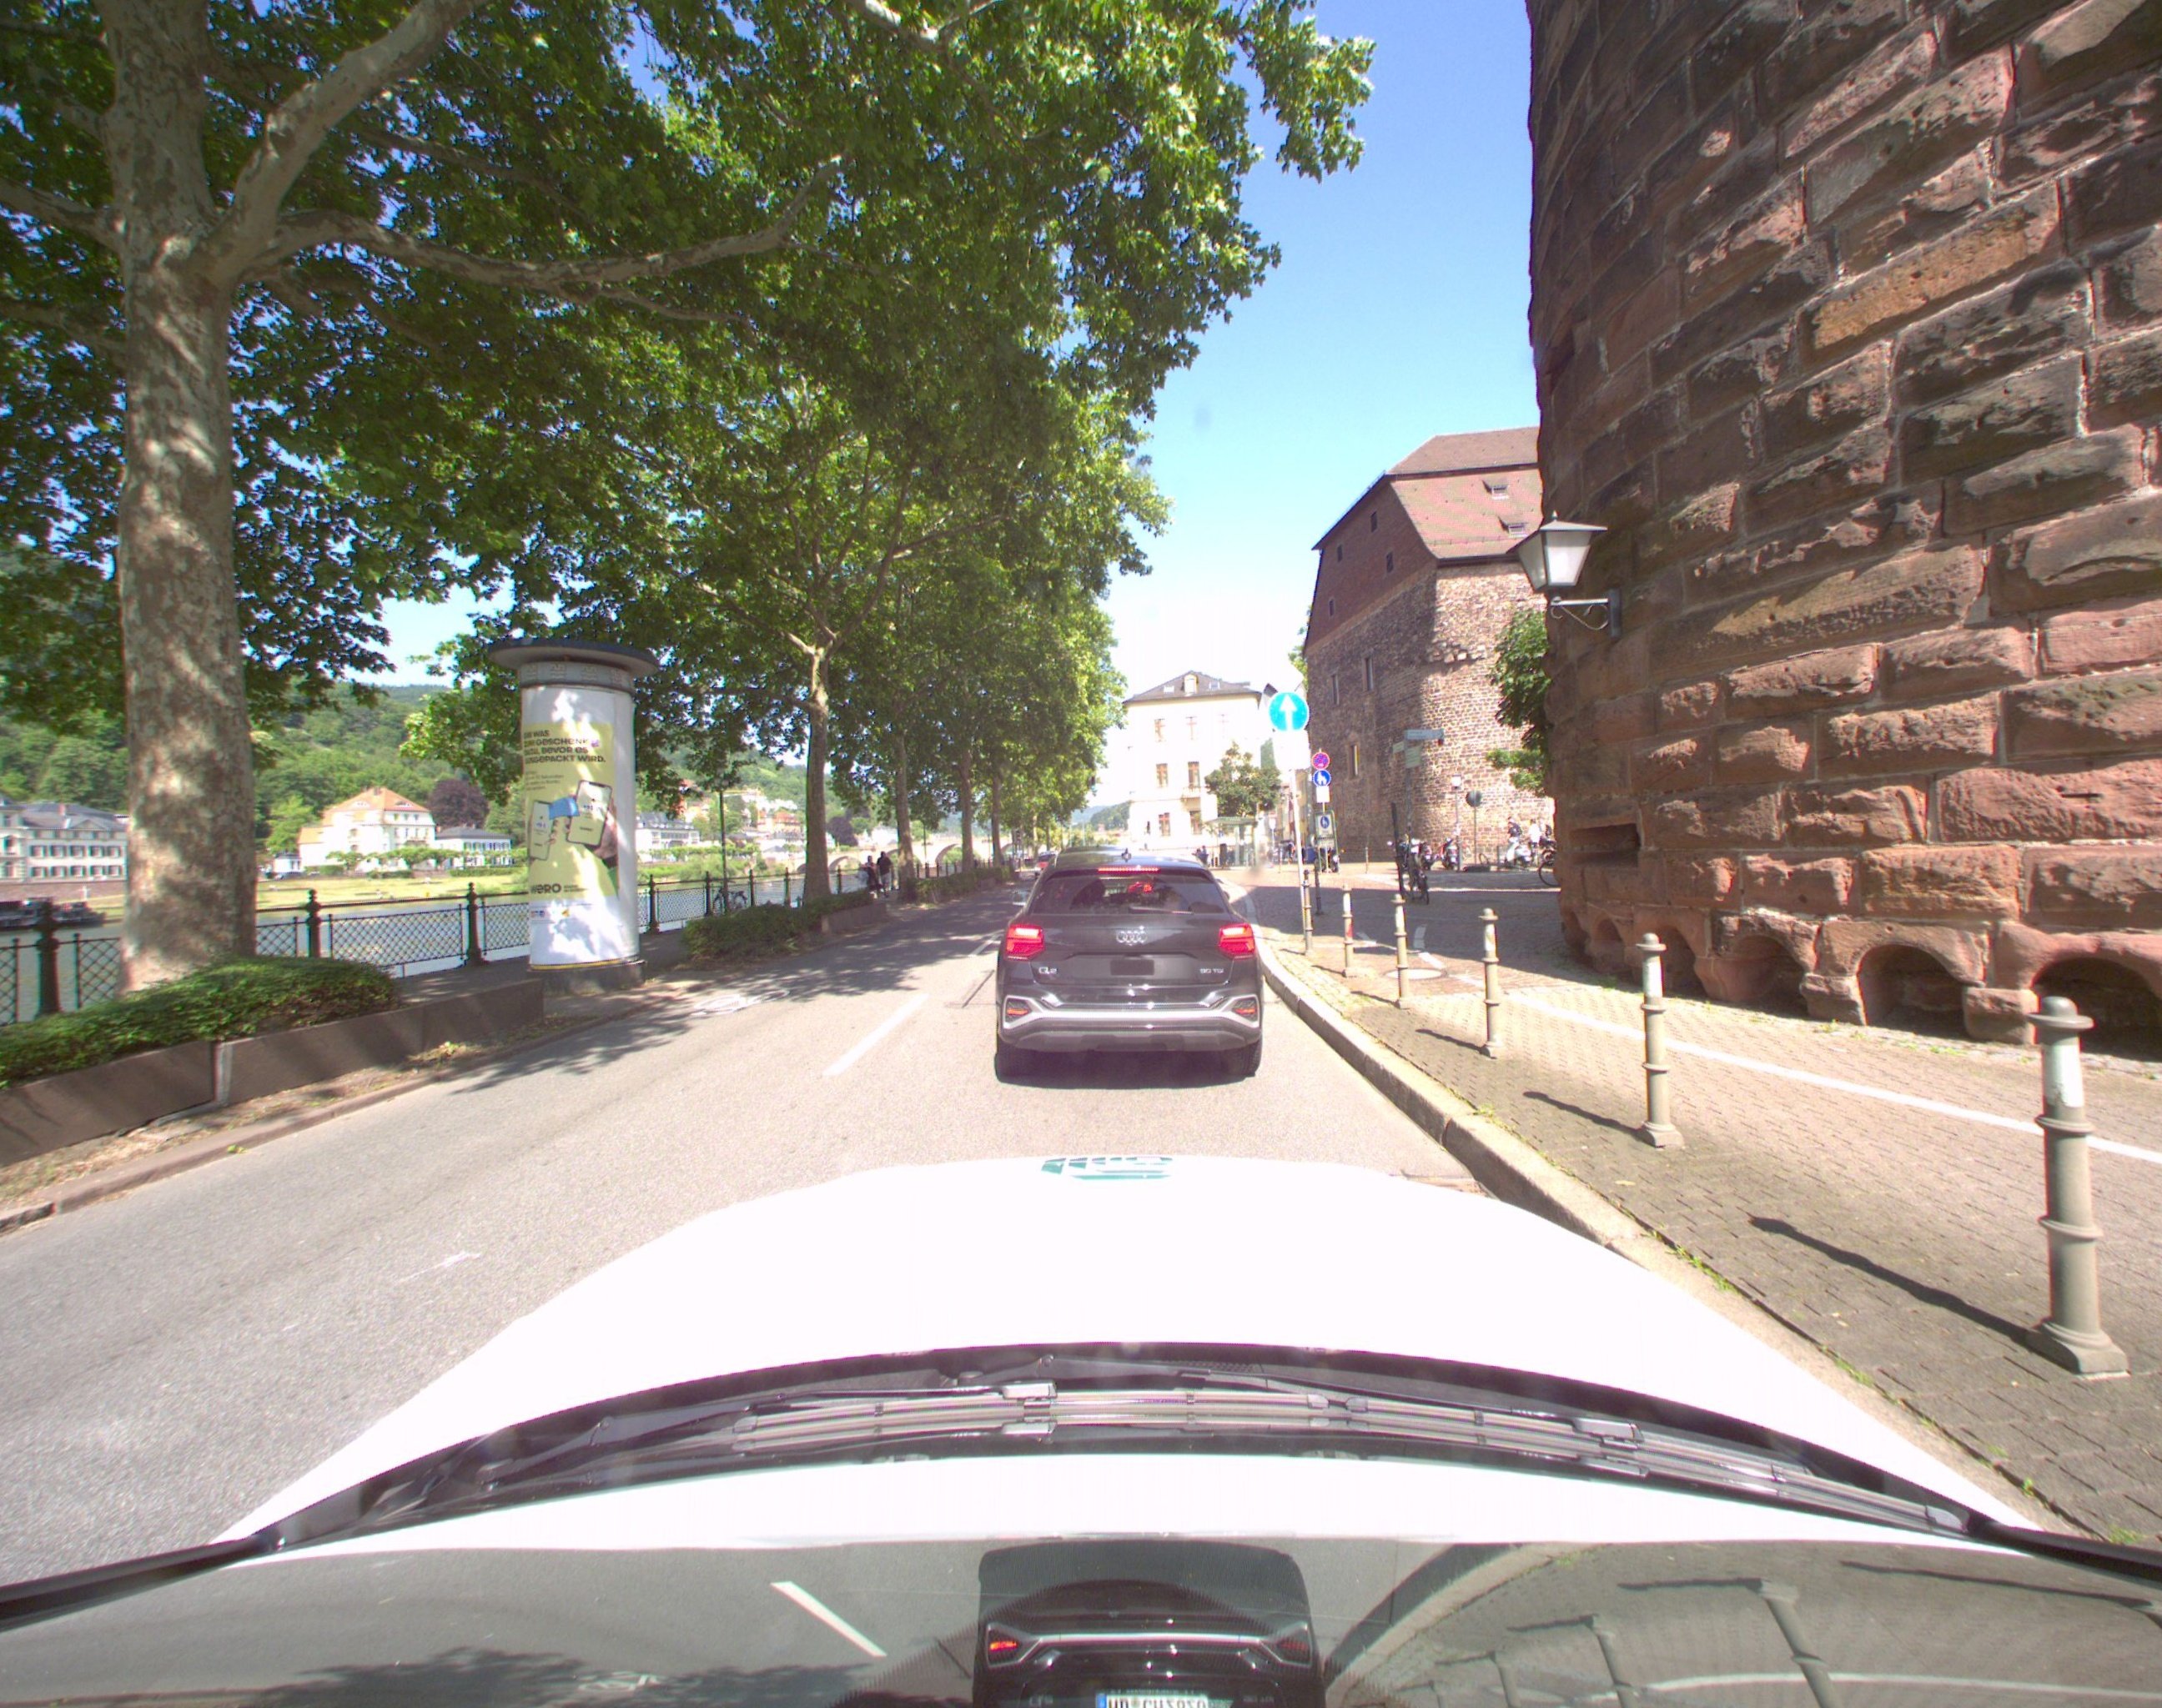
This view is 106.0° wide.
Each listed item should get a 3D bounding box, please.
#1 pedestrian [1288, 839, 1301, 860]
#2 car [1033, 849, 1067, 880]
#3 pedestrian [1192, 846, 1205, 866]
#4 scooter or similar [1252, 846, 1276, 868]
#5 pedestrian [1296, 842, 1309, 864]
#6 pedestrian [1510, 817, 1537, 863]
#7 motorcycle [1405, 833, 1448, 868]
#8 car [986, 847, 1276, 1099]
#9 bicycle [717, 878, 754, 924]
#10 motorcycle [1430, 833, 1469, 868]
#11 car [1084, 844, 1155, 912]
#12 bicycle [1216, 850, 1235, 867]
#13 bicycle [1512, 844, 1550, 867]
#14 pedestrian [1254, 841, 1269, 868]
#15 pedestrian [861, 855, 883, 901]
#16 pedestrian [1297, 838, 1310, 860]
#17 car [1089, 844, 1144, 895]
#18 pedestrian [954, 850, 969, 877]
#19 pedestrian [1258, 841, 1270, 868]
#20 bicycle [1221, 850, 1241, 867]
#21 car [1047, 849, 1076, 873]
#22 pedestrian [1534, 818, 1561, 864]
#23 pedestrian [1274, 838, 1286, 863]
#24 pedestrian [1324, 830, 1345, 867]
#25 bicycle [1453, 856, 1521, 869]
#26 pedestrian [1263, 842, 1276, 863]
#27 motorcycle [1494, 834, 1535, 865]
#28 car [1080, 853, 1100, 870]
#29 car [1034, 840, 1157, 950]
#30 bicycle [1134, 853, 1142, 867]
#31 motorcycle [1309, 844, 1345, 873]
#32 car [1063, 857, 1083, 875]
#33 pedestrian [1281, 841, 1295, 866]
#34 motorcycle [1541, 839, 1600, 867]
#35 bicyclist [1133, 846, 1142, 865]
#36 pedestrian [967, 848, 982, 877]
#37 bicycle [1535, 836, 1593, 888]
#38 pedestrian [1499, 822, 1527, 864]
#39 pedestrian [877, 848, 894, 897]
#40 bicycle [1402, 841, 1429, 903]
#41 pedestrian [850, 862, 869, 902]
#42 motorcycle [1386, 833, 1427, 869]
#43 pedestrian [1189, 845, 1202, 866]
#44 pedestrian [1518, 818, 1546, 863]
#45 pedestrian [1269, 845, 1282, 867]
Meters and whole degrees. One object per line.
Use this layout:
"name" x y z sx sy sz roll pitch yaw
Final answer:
"pedestrian" 16.710 -0.364 63.754 0.772 1.564 0.647 -3 0 7
"car" -1.867 0.612 49.586 1.667 1.660 4.224 -5 0 1
"pedestrian" 6.958 0.117 48.184 0.662 1.211 0.640 0 -1 -5
"scooter or similar" 8.830 0.142 39.343 1.085 1.066 0.323 0 -1 -1
"pedestrian" 16.472 -0.062 60.597 0.684 1.612 0.897 -4 0 27
"pedestrian" 19.724 -0.592 36.301 0.736 2.014 0.867 0 -1 -41
"motorcycle" 12.752 -0.129 30.133 0.672 1.235 2.313 -1 -1 2
"car" 0.356 0.704 6.725 1.736 1.509 3.649 0 0 2
"bicycle" -8.884 1.193 20.966 0.358 1.091 1.296 1 0 1
"motorcycle" 13.638 -0.116 30.191 0.544 1.235 2.031 -1 -1 2
"car" 0.994 0.579 21.738 1.704 1.609 3.656 -1 0 2
"bicycle" 8.796 0.260 49.555 1.187 1.016 0.178 0 -1 -17
"bicycle" 16.632 0.048 30.150 0.352 0.820 1.926 0 1 1
"pedestrian" 12.845 0.056 57.818 0.740 1.890 0.757 -2 -1 34
"pedestrian" -7.927 0.902 30.845 0.599 1.685 0.583 -3 0 0
"pedestrian" 17.218 -0.402 63.007 0.773 1.621 0.646 -3 0 4
"car" 1.251 0.516 29.220 1.788 1.682 4.002 -1 0 2
"pedestrian" -8.118 0.650 55.270 0.906 1.811 0.586 -1 -1 6
"pedestrian" 9.558 0.008 42.513 0.555 1.385 0.588 -1 -1 4
"bicycle" 9.003 0.260 48.915 1.205 1.035 0.178 0 -1 -17
"car" -1.482 0.547 64.794 1.761 1.660 4.005 -6 0 4
"pedestrian" 19.975 -0.556 34.877 0.674 1.920 0.811 0 -1 -39
"pedestrian" 16.529 -0.274 67.709 0.836 2.014 0.738 -1 -1 2
"pedestrian" 11.999 -0.261 38.499 0.800 1.662 0.660 -3 0 25
"bicycle" 13.601 0.278 27.344 1.914 0.381 0.921 -2 -1 16
"pedestrian" 12.873 -0.105 55.625 0.637 1.444 0.797 -4 0 -5
"motorcycle" 15.460 -0.152 29.085 0.505 1.073 1.841 -1 -1 2
"car" 1.057 0.817 90.613 1.985 1.806 4.003 -1 -1 3
"car" 0.263 0.591 13.583 1.786 1.595 3.400 0 0 2
"bicycle" 4.352 0.462 62.616 0.436 1.086 1.675 0 -1 -2
"motorcycle" 9.061 0.160 30.082 0.564 1.012 2.490 -3 0 1
"car" -0.815 1.181 83.681 1.732 1.572 4.093 -6 0 2
"pedestrian" 17.128 -0.054 67.314 0.936 2.014 0.808 -1 -1 2
"motorcycle" 18.461 -0.032 30.760 1.854 1.054 0.481 -1 -1 9
"bicyclist" 4.325 0.108 62.592 0.604 1.450 0.590 0 -1 -3
"pedestrian" -7.533 0.592 57.691 0.906 2.014 0.587 -1 -1 6
"bicycle" 11.522 0.175 19.475 0.444 1.162 1.733 -2 0 5
"pedestrian" 18.916 -0.494 35.648 0.657 1.802 0.838 -1 0 -35
"pedestrian" -7.578 0.710 31.538 0.532 1.887 0.437 -1 0 1
"bicycle" 6.864 0.331 16.743 0.192 1.203 1.775 -2 1 13
"pedestrian" -7.577 0.956 27.883 0.476 1.362 0.418 -1 0 5
"motorcycle" 11.916 -0.090 29.865 0.653 1.266 2.201 -2 -1 2
"pedestrian" 6.882 0.099 48.910 0.662 1.231 0.640 0 -1 -5
"pedestrian" 19.135 -0.553 34.552 0.672 1.884 0.813 0 -1 -30
"pedestrian" 17.630 0.207 73.747 0.941 2.014 0.808 -1 -1 2
